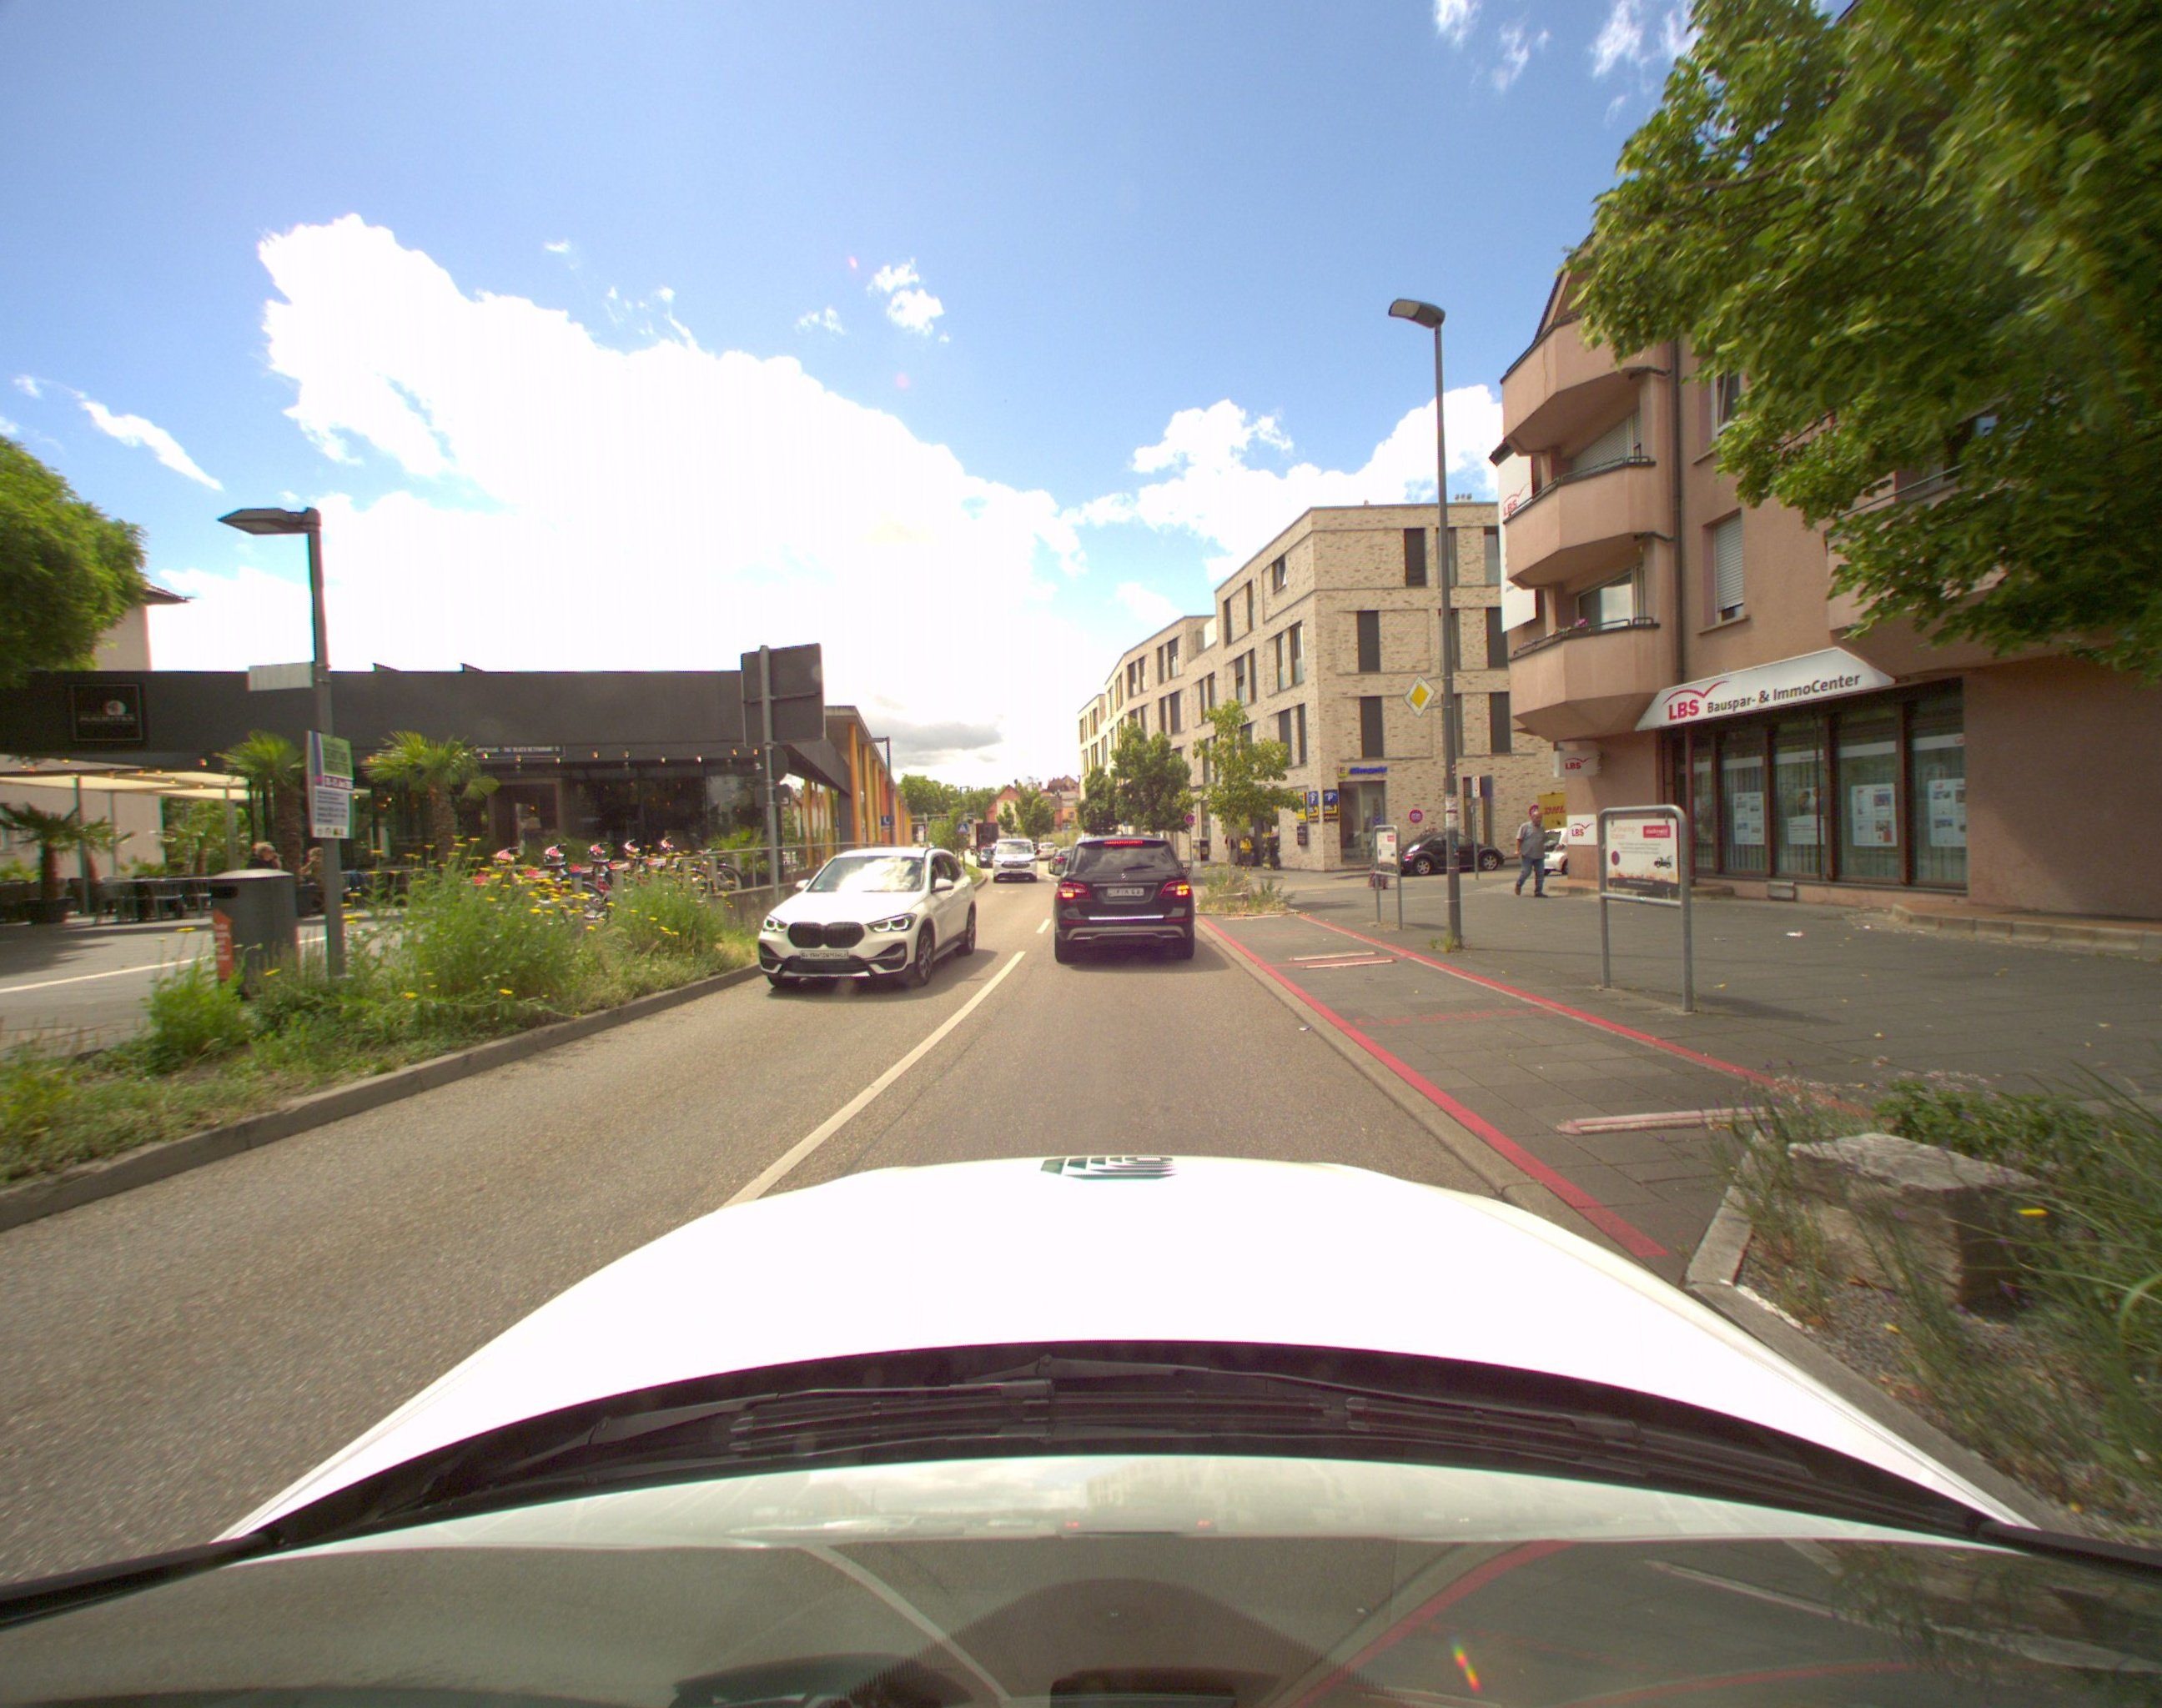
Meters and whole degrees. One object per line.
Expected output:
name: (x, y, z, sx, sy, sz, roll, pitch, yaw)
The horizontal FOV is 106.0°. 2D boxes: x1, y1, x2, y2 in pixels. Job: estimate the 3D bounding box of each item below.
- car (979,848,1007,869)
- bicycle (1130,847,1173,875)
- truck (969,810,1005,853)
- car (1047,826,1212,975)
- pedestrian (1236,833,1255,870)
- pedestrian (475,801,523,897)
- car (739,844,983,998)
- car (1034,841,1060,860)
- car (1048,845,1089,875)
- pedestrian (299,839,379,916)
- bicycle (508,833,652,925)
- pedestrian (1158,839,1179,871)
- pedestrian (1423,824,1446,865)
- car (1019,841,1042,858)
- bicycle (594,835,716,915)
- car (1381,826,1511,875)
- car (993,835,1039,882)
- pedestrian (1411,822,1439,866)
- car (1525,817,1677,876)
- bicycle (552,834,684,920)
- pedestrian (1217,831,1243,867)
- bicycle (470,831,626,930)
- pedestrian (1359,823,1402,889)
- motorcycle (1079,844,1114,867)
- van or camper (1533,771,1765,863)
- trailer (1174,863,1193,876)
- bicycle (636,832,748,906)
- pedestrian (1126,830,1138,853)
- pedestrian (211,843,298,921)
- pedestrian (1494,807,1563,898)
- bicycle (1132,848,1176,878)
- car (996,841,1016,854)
car: (-6.396, 0.297, 58.776, 1.772, 1.464, 4.222, -1, 1, -9)
bicycle: (3.186, 0.304, 36.956, 1.820, 1.131, 0.755, -3, 0, -5)
truck: (-10.930, -2.485, 94.032, 3.205, 4.535, 8.991, -1, 0, -12)
car: (0.581, 0.546, 12.544, 1.988, 1.746, 4.530, -4, 1, -1)
pedestrian: (7.686, -0.101, 38.012, 0.651, 1.692, 0.635, -2, 1, 29)
pedestrian: (-12.720, -0.099, 17.811, 0.632, 2.052, 0.665, -1, -1, -14)
car: (-2.577, 0.693, 10.687, 1.815, 1.584, 4.169, -1, 0, 3)
car: (-3.000, -0.291, 71.092, 1.693, 1.483, 3.785, -4, 2, -10)
car: (-0.721, 0.290, 44.697, 1.725, 1.456, 3.799, -3, 2, -8)
pedestrian: (-13.941, 0.432, 15.317, 0.798, 1.379, 0.790, -1, -1, -11)
bicycle: (-6.686, 0.326, 10.899, 1.540, 1.127, 0.534, -3, 0, 2)
pedestrian: (4.375, 0.068, 40.815, 0.811, 1.565, 0.928, -1, -1, -6)
pedestrian: (14.050, -0.372, 32.356, 0.524, 1.573, 0.597, -1, -1, -32)
car: (-4.983, -0.452, 80.188, 1.693, 1.461, 4.133, -4, 2, -10)
bicycle: (-6.532, 0.316, 12.530, 1.540, 1.127, 0.534, -3, 0, 2)
car: (13.118, -0.147, 29.394, 3.889, 1.477, 1.780, -4, 1, -6)
car: (-3.097, 0.173, 38.184, 1.991, 2.013, 5.384, 0, 0, -6)
pedestrian: (13.516, -0.387, 32.001, 0.557, 1.671, 0.808, -1, -1, -32)
car: (15.324, -0.235, 24.136, 3.370, 1.477, 1.718, -4, 1, 0)
bicycle: (-6.622, 0.318, 11.687, 1.540, 1.127, 0.534, -3, 0, 2)
pedestrian: (7.557, -0.260, 41.334, 1.016, 1.741, 0.656, -3, 1, -15)
bicycle: (-6.604, 0.319, 10.133, 1.540, 1.127, 0.534, -3, 0, 2)
pedestrian: (7.887, 0.048, 21.420, 0.737, 1.638, 0.933, -4, 1, 37)
motorcycle: (0.985, 0.092, 50.648, 2.040, 1.266, 0.674, -4, 0, 6)
van or camper: (20.682, -1.293, 29.868, 6.836, 2.736, 2.275, -4, -1, -2)
trailer: (4.532, 0.671, 35.964, 0.717, 0.528, 0.811, -2, 0, -1)
bicycle: (-6.472, 0.243, 13.583, 1.540, 1.127, 0.534, -3, 0, 2)
pedestrian: (3.361, -0.859, 54.024, 0.606, 1.472, 0.790, -4, 2, -4)
pedestrian: (-15.206, 0.498, 15.008, 0.798, 1.379, 0.790, -1, -1, -11)
pedestrian: (8.737, -0.018, 15.932, 0.714, 1.685, 0.944, -3, -1, -2)
bicycle: (3.224, 0.395, 36.045, 1.820, 1.201, 0.755, -3, 0, -5)
car: (-9.381, -0.822, 101.045, 1.784, 1.451, 4.456, -4, 2, -13)
